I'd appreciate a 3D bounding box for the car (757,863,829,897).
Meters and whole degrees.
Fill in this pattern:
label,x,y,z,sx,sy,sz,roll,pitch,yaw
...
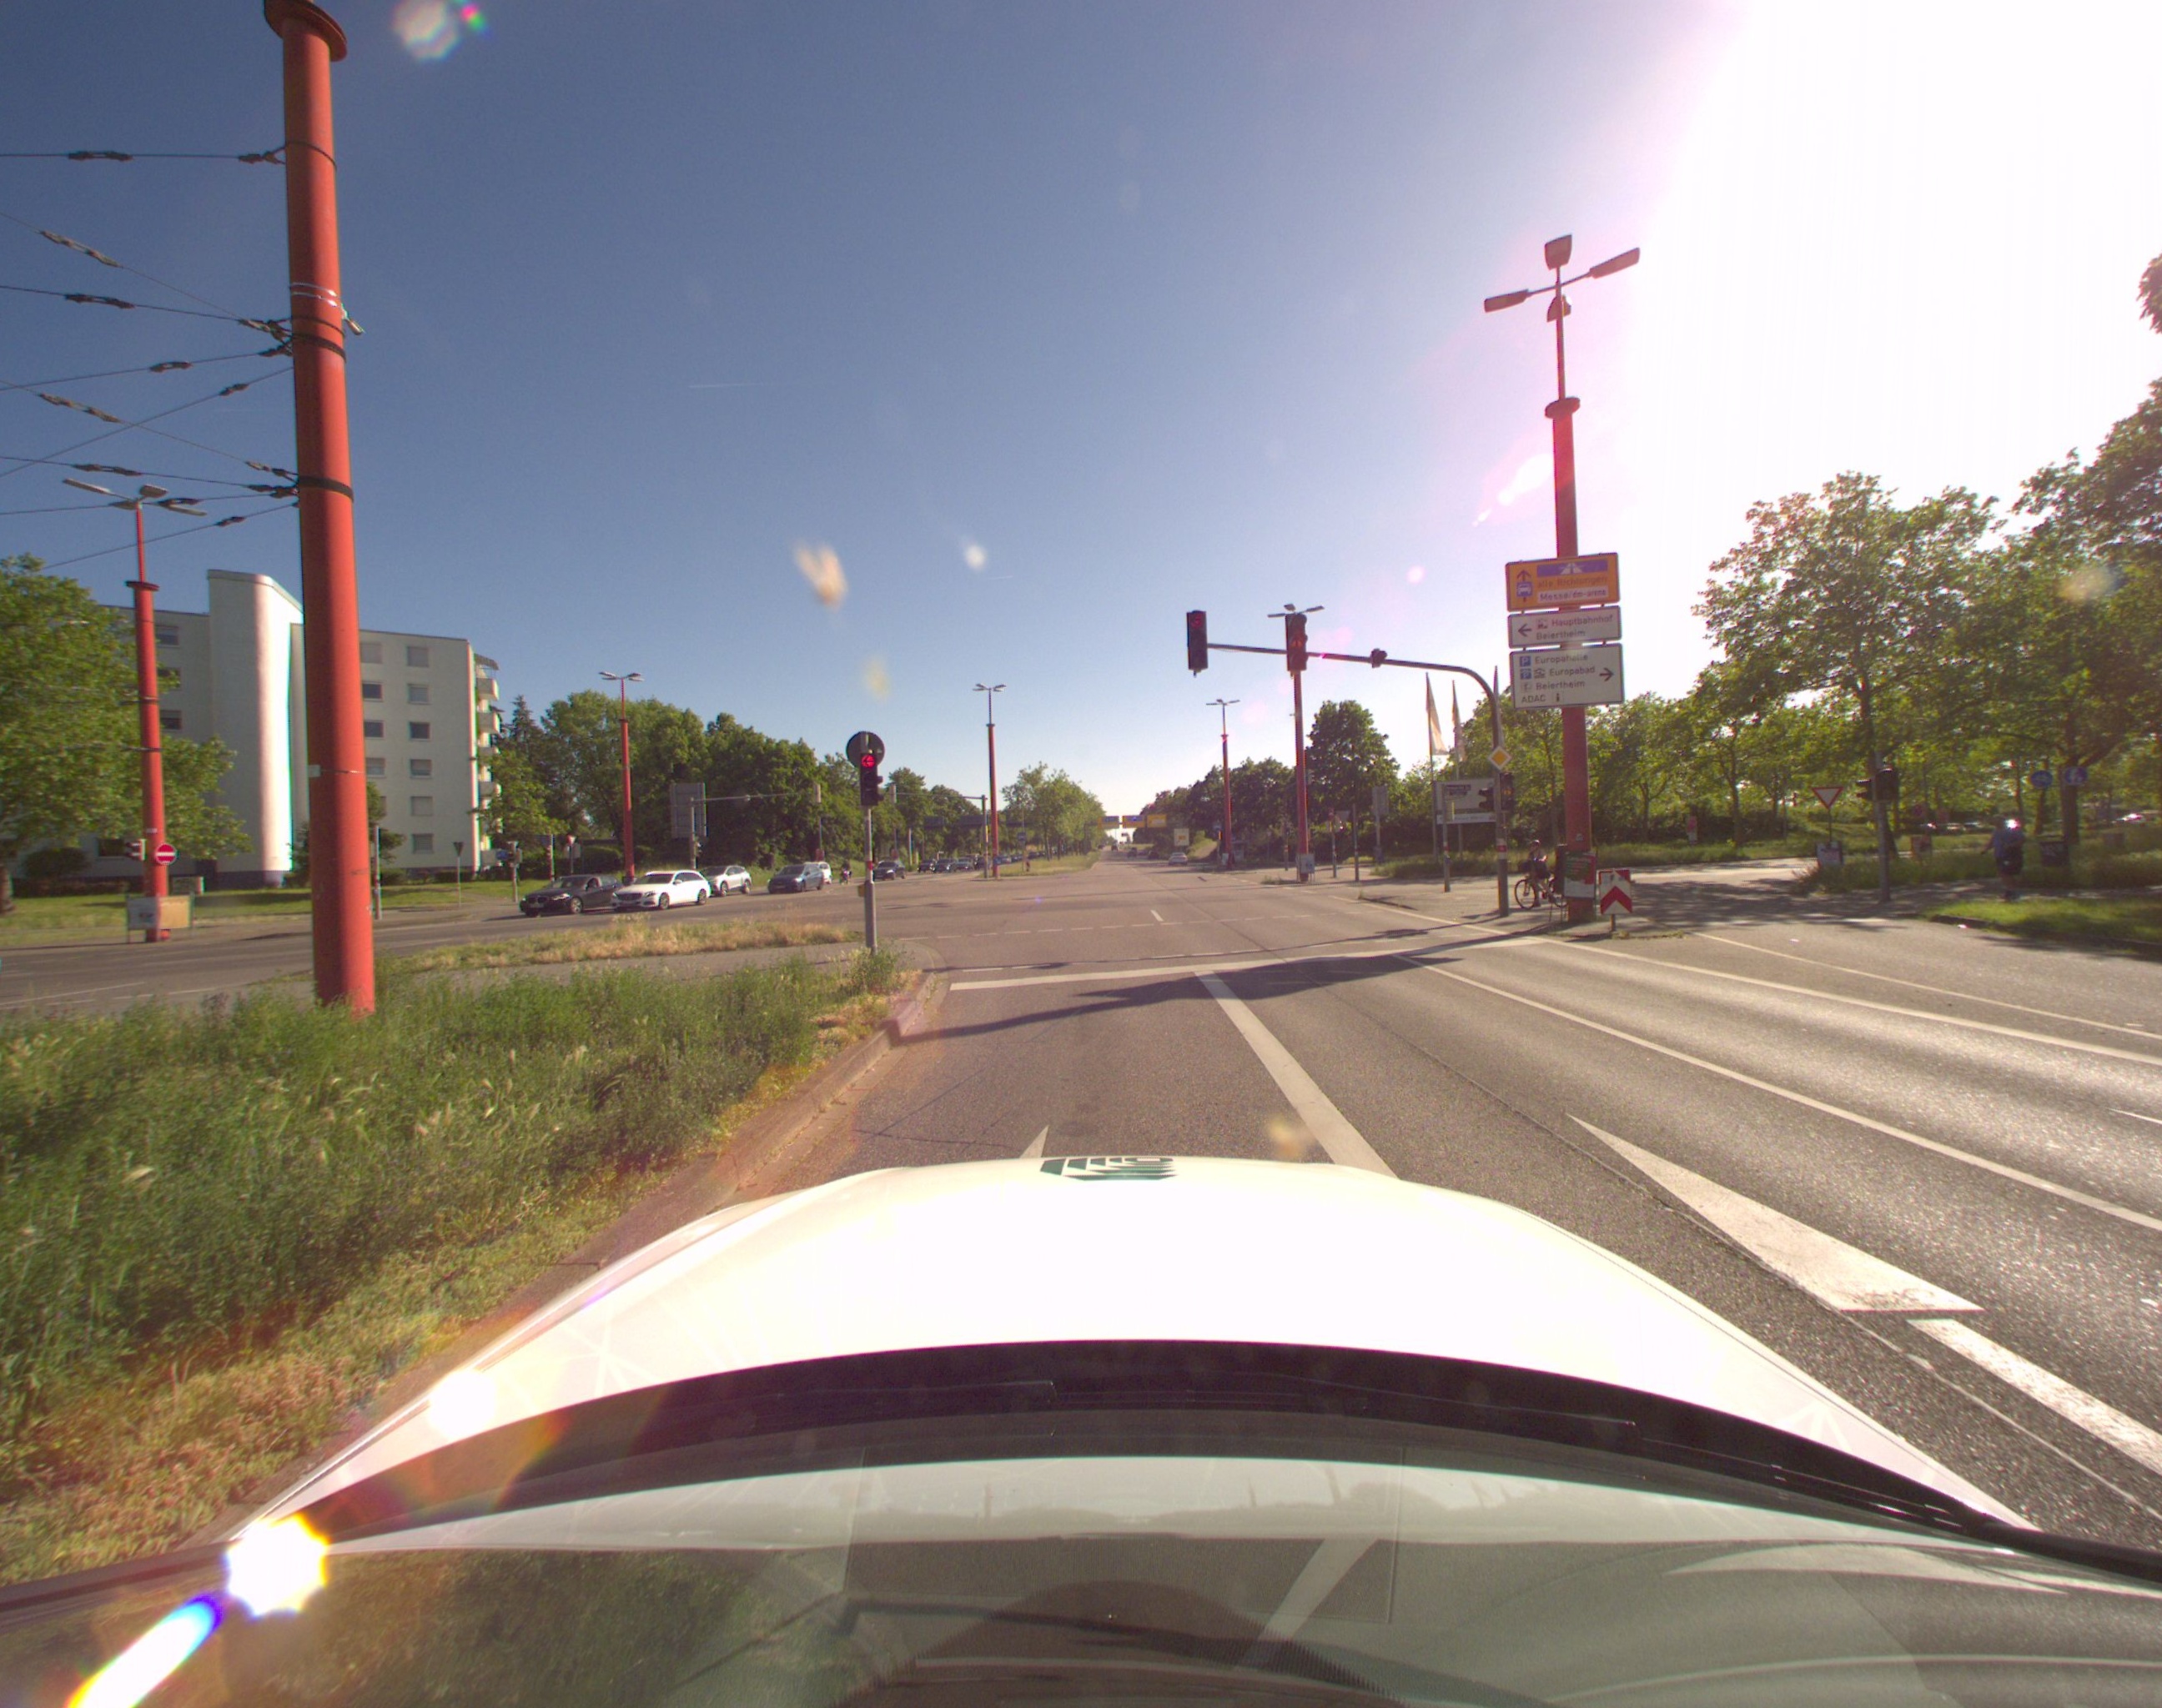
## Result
label,x,y,z,sx,sy,sz,roll,pitch,yaw
car,-15.315,1.358,43.621,1.985,1.594,4.468,-3,0,4

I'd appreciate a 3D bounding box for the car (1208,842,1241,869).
label,x,y,z,sx,sy,sz,roll,pitch,yaw
car,10.578,0.079,59.809,1.979,1.887,4.016,-2,0,15

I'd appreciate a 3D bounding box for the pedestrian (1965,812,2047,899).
label,x,y,z,sx,sy,sz,roll,pitch,yaw
pedestrian,19.782,0.017,17.431,0.894,1.788,0.895,-1,1,-19

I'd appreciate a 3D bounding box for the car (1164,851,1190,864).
label,x,y,z,sx,sy,sz,roll,pitch,yaw
car,10.653,0.403,90.545,2.051,1.371,4.383,-2,0,-5

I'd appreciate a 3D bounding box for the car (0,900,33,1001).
label,x,y,z,sx,sy,sz,roll,pitch,yaw
car,-16.883,1.516,10.319,1.582,1.472,4.186,-3,1,3

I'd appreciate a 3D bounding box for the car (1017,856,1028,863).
label,x,y,z,sx,sy,sz,roll,pitch,yaw
car,-11.243,1.052,156.660,1.998,1.308,3.998,-2,0,-1

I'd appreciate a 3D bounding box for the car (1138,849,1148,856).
label,x,y,z,sx,sy,sz,roll,pitch,yaw
car,14.099,-0.326,185.947,1.986,1.540,4.002,-1,0,2

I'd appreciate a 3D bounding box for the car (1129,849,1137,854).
label,x,y,z,sx,sy,sz,roll,pitch,yaw
car,15.203,-0.674,237.210,1.983,1.540,4.007,-2,0,6

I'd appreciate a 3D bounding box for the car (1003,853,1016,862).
label,x,y,z,sx,sy,sz,roll,pitch,yaw
car,-12.685,0.651,144.564,1.697,1.558,3.806,-1,0,3

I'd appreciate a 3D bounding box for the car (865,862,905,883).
label,x,y,z,sx,sy,sz,roll,pitch,yaw
car,-14.730,1.343,61.528,1.870,1.485,4.605,-1,0,0

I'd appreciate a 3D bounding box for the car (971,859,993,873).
label,x,y,z,sx,sy,sz,roll,pitch,yaw
car,-10.811,1.315,89.051,1.694,1.421,4.002,1,0,2

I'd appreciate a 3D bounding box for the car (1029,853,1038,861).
label,x,y,z,sx,sy,sz,roll,pitch,yaw
car,-10.641,0.674,182.219,1.619,1.739,4.003,-2,0,2

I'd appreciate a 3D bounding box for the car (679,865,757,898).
label,x,y,z,sx,sy,sz,roll,pitch,yaw
car,-19.147,1.412,43.191,1.830,1.601,4.442,-2,0,4

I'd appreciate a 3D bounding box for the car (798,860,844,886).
label,x,y,z,sx,sy,sz,roll,pitch,yaw
car,-18.777,1.358,58.975,1.793,1.707,4.062,-2,0,2

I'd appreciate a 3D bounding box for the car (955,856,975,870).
label,x,y,z,sx,sy,sz,roll,pitch,yaw
car,-13.520,1.019,95.052,1.598,1.459,3.952,-2,0,2

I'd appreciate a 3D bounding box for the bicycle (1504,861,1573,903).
label,x,y,z,sx,sy,sz,roll,pitch,yaw
bicycle,10.885,0.654,19.348,2.178,0.878,0.553,-2,0,-37

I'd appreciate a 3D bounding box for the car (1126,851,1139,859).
label,x,y,z,sx,sy,sz,roll,pitch,yaw
car,10.251,0.119,162.376,1.989,1.496,3.995,-2,0,-4

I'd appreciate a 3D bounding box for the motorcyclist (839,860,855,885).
label,x,y,z,sx,sy,sz,roll,pitch,yaw
motorcyclist,-15.369,1.200,53.487,0.830,1.599,0.642,-1,-1,8

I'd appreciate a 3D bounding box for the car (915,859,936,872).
label,x,y,z,sx,sy,sz,roll,pitch,yaw
car,-18.244,1.287,95.509,1.538,1.433,3.887,-3,0,2

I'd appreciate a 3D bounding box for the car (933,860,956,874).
label,x,y,z,sx,sy,sz,roll,pitch,yaw
car,-14.084,1.307,84.331,1.542,1.377,4.264,-2,0,1

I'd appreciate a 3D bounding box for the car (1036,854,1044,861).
label,x,y,z,sx,sy,sz,roll,pitch,yaw
car,-10.128,0.815,201.630,1.650,1.747,4.003,-1,0,3

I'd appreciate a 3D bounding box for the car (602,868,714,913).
label,x,y,z,sx,sy,sz,roll,pitch,yaw
car,-16.146,1.350,31.384,1.697,1.423,4.645,-3,0,2

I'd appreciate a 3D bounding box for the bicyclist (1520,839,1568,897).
label,x,y,z,sx,sy,sz,roll,pitch,yaw
bicyclist,11.041,0.334,19.417,0.744,1.341,0.701,-2,0,-32

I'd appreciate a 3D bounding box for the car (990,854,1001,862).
label,x,y,z,sx,sy,sz,roll,pitch,yaw
car,-15.643,0.727,149.496,1.622,1.450,3.435,-1,0,1

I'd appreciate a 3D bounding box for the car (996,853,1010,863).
label,x,y,z,sx,sy,sz,roll,pitch,yaw
car,-12.634,0.633,132.121,1.697,1.596,4.003,-1,0,3

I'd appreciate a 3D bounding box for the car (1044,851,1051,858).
label,x,y,z,sx,sy,sz,roll,pitch,yaw
car,-8.944,0.120,218.121,1.601,1.730,3.791,-1,0,2

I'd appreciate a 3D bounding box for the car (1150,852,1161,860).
label,x,y,z,sx,sy,sz,roll,pitch,yaw
car,12.841,0.311,141.248,1.731,1.341,3.083,-2,0,2

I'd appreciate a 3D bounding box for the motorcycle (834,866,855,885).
label,x,y,z,sx,sy,sz,roll,pitch,yaw
motorcycle,-15.449,1.395,53.225,0.418,1.131,2.100,-1,0,9

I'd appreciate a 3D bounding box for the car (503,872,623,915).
label,x,y,z,sx,sy,sz,roll,pitch,yaw
car,-19.451,1.440,30.794,1.855,1.342,4.031,-3,0,1
